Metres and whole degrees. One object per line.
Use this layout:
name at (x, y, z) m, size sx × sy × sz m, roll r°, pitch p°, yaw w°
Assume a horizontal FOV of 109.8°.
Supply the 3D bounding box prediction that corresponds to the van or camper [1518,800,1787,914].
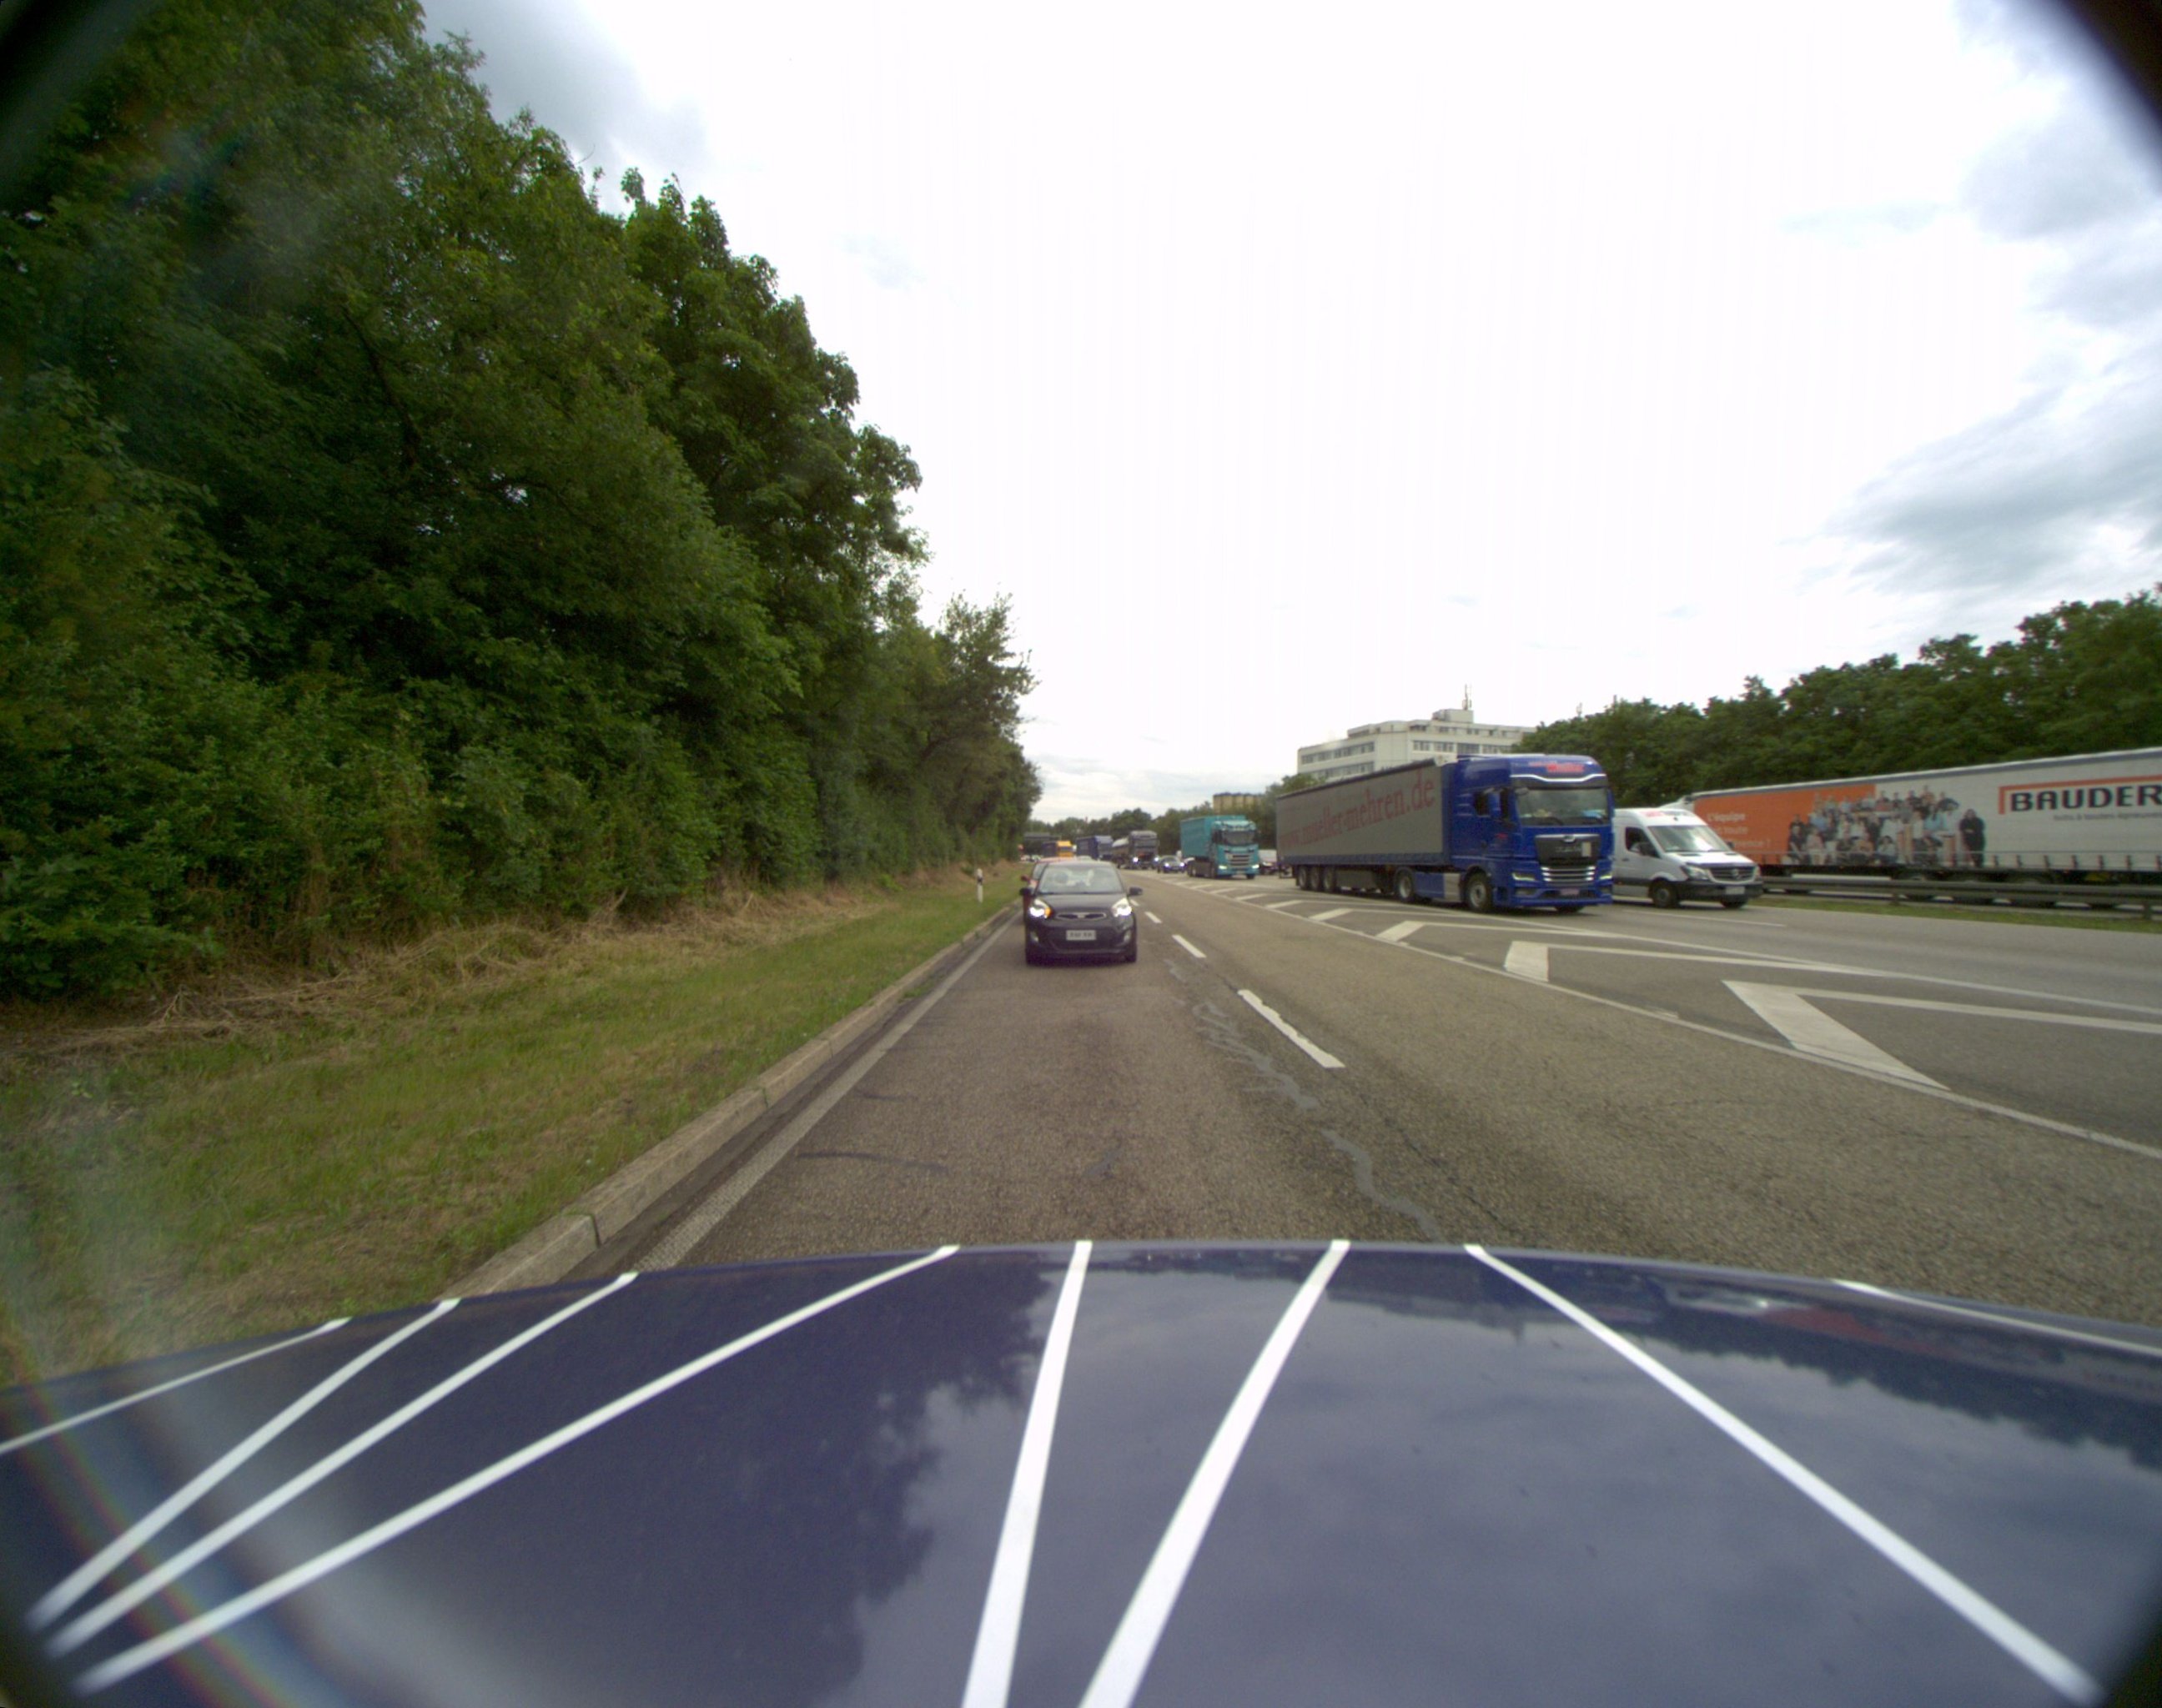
van or camper at (15.113, 0.065, 20.920) m, size 2.054 × 2.606 × 6.954 m, roll 0°, pitch 0°, yaw -1°

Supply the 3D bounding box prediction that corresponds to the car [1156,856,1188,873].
car at (7.467, 0.832, 62.344) m, size 1.758 × 1.314 × 3.998 m, roll -1°, pitch 0°, yaw -6°

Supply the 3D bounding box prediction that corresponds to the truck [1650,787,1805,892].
truck at (26.604, -0.585, 31.499) m, size 2.957 × 4.067 × 3.999 m, roll 0°, pitch 0°, yaw -2°

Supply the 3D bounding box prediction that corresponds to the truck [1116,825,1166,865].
truck at (6.183, -0.888, 81.478) m, size 3.329 × 3.902 × 13.139 m, roll -1°, pitch 0°, yaw -5°

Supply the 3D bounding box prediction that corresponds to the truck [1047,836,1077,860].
truck at (-3.705, -0.999, 141.215) m, size 2.849 × 4.206 × 14.105 m, roll -1°, pitch 0°, yaw -12°

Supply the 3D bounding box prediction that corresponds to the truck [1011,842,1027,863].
truck at (-15.697, -0.325, 190.632) m, size 2.848 × 5.070 × 14.109 m, roll -1°, pitch 0°, yaw -9°

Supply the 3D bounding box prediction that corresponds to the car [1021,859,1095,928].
car at (-0.543, 0.895, 18.611) m, size 1.631 × 1.492 × 3.563 m, roll 0°, pitch 0°, yaw -1°

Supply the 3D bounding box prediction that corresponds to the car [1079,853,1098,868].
car at (0.807, 0.666, 82.031) m, size 1.864 × 1.455 × 4.883 m, roll -1°, pitch 0°, yaw -1°

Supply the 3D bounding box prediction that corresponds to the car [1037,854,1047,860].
car at (-8.330, 0.603, 162.299) m, size 1.636 × 1.328 × 3.192 m, roll 0°, pitch 0°, yaw -11°

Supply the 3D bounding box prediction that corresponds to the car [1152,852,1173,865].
car at (9.806, 0.518, 91.407) m, size 1.999 × 1.474 × 3.248 m, roll 0°, pitch 0°, yaw -5°

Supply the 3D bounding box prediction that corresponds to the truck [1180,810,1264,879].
truck at (8.773, -0.567, 48.609) m, size 2.701 × 3.977 × 10.120 m, roll -1°, pitch 0°, yaw -5°

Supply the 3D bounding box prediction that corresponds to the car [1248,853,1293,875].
car at (13.011, 0.640, 52.346) m, size 1.898 × 1.425 × 3.998 m, roll 0°, pitch 0°, yaw -4°

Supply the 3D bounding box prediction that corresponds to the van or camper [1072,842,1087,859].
van or camper at (-0.289, -0.617, 143.573) m, size 2.000 × 3.053 × 4.416 m, roll 0°, pitch 0°, yaw -11°

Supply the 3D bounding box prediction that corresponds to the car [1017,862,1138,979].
car at (-0.037, 0.906, 12.080) m, size 1.584 × 1.485 × 4.000 m, roll -1°, pitch 0°, yaw 0°

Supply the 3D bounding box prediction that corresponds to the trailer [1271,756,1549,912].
trailer at (10.162, -0.542, 26.341) m, size 2.681 × 3.951 × 13.913 m, roll -1°, pitch 0°, yaw -4°

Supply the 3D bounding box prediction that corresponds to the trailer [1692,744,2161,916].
trailer at (26.879, -0.582, 24.397) m, size 2.957 × 4.067 × 13.824 m, roll 0°, pitch 0°, yaw -2°

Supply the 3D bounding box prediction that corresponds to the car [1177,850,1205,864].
car at (11.020, 0.271, 76.379) m, size 1.898 × 1.425 × 4.053 m, roll 0°, pitch 0°, yaw -4°

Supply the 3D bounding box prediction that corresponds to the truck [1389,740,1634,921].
truck at (10.633, -0.523, 19.573) m, size 2.676 × 3.938 × 5.925 m, roll -1°, pitch 0°, yaw -4°

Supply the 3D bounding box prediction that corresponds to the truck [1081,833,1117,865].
truck at (2.298, -0.657, 105.445) m, size 2.815 × 4.206 × 13.996 m, roll -1°, pitch 0°, yaw -8°
